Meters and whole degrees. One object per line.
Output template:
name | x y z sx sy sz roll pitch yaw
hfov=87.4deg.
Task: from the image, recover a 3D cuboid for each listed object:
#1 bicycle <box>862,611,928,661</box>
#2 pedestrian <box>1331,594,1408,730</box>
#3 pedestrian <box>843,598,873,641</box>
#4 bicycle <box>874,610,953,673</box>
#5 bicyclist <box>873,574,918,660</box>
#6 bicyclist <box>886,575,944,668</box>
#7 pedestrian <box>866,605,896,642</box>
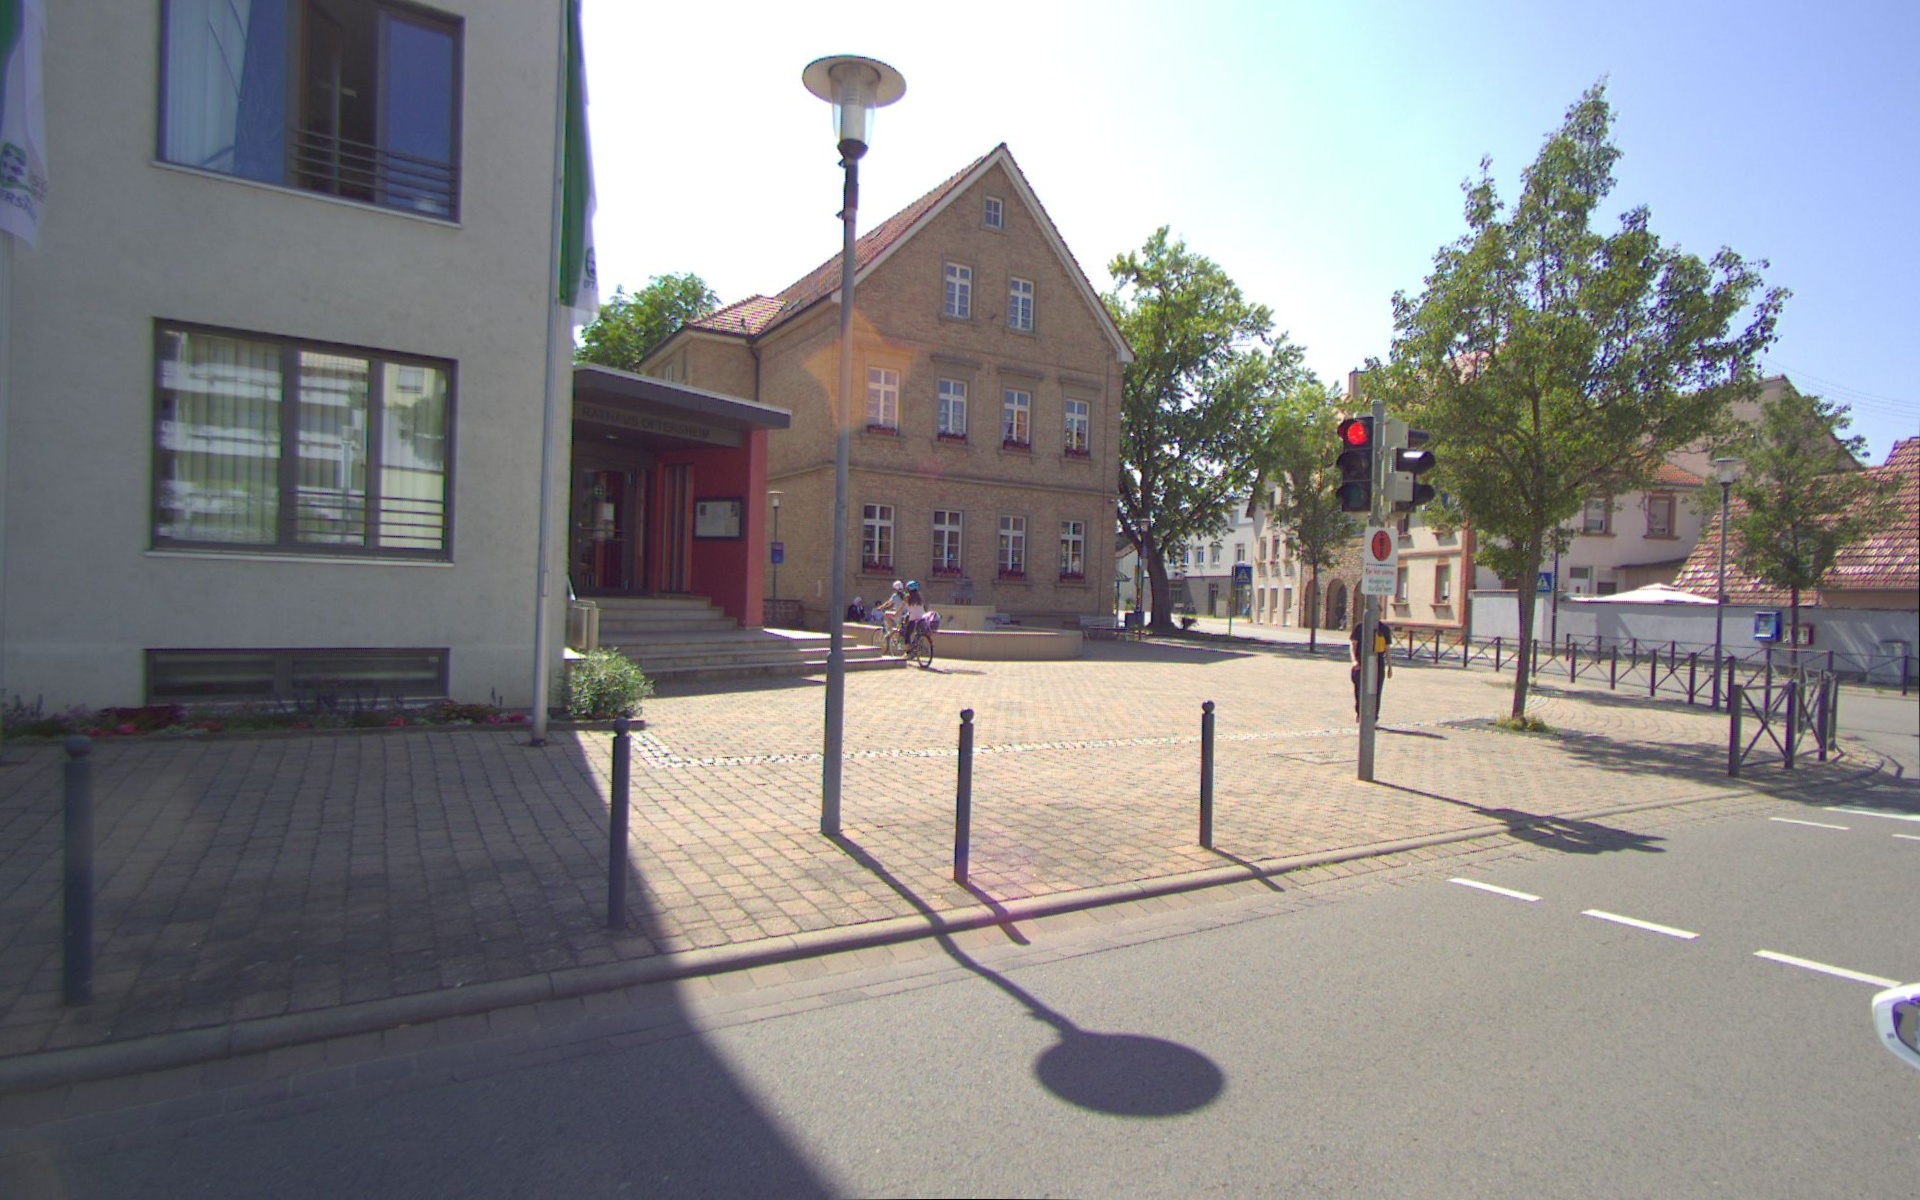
bicycle | -1.341 0.716 20.324 0.667 0.970 1.884 1 -1 -26
pedestrian | 5.338 0.780 13.133 0.798 1.676 0.851 3 1 19
pedestrian | -2.883 0.544 28.405 0.611 1.186 0.636 2 0 -29
bicycle | -0.869 0.725 18.210 0.667 0.970 1.883 3 1 -27
bicyclist | -1.306 0.350 20.252 0.662 1.686 0.756 1 -1 -26
bicyclist | -0.818 0.379 18.144 0.662 1.602 0.756 4 2 -27
pedestrian | -2.266 0.673 28.779 0.611 1.041 0.636 2 0 -29
